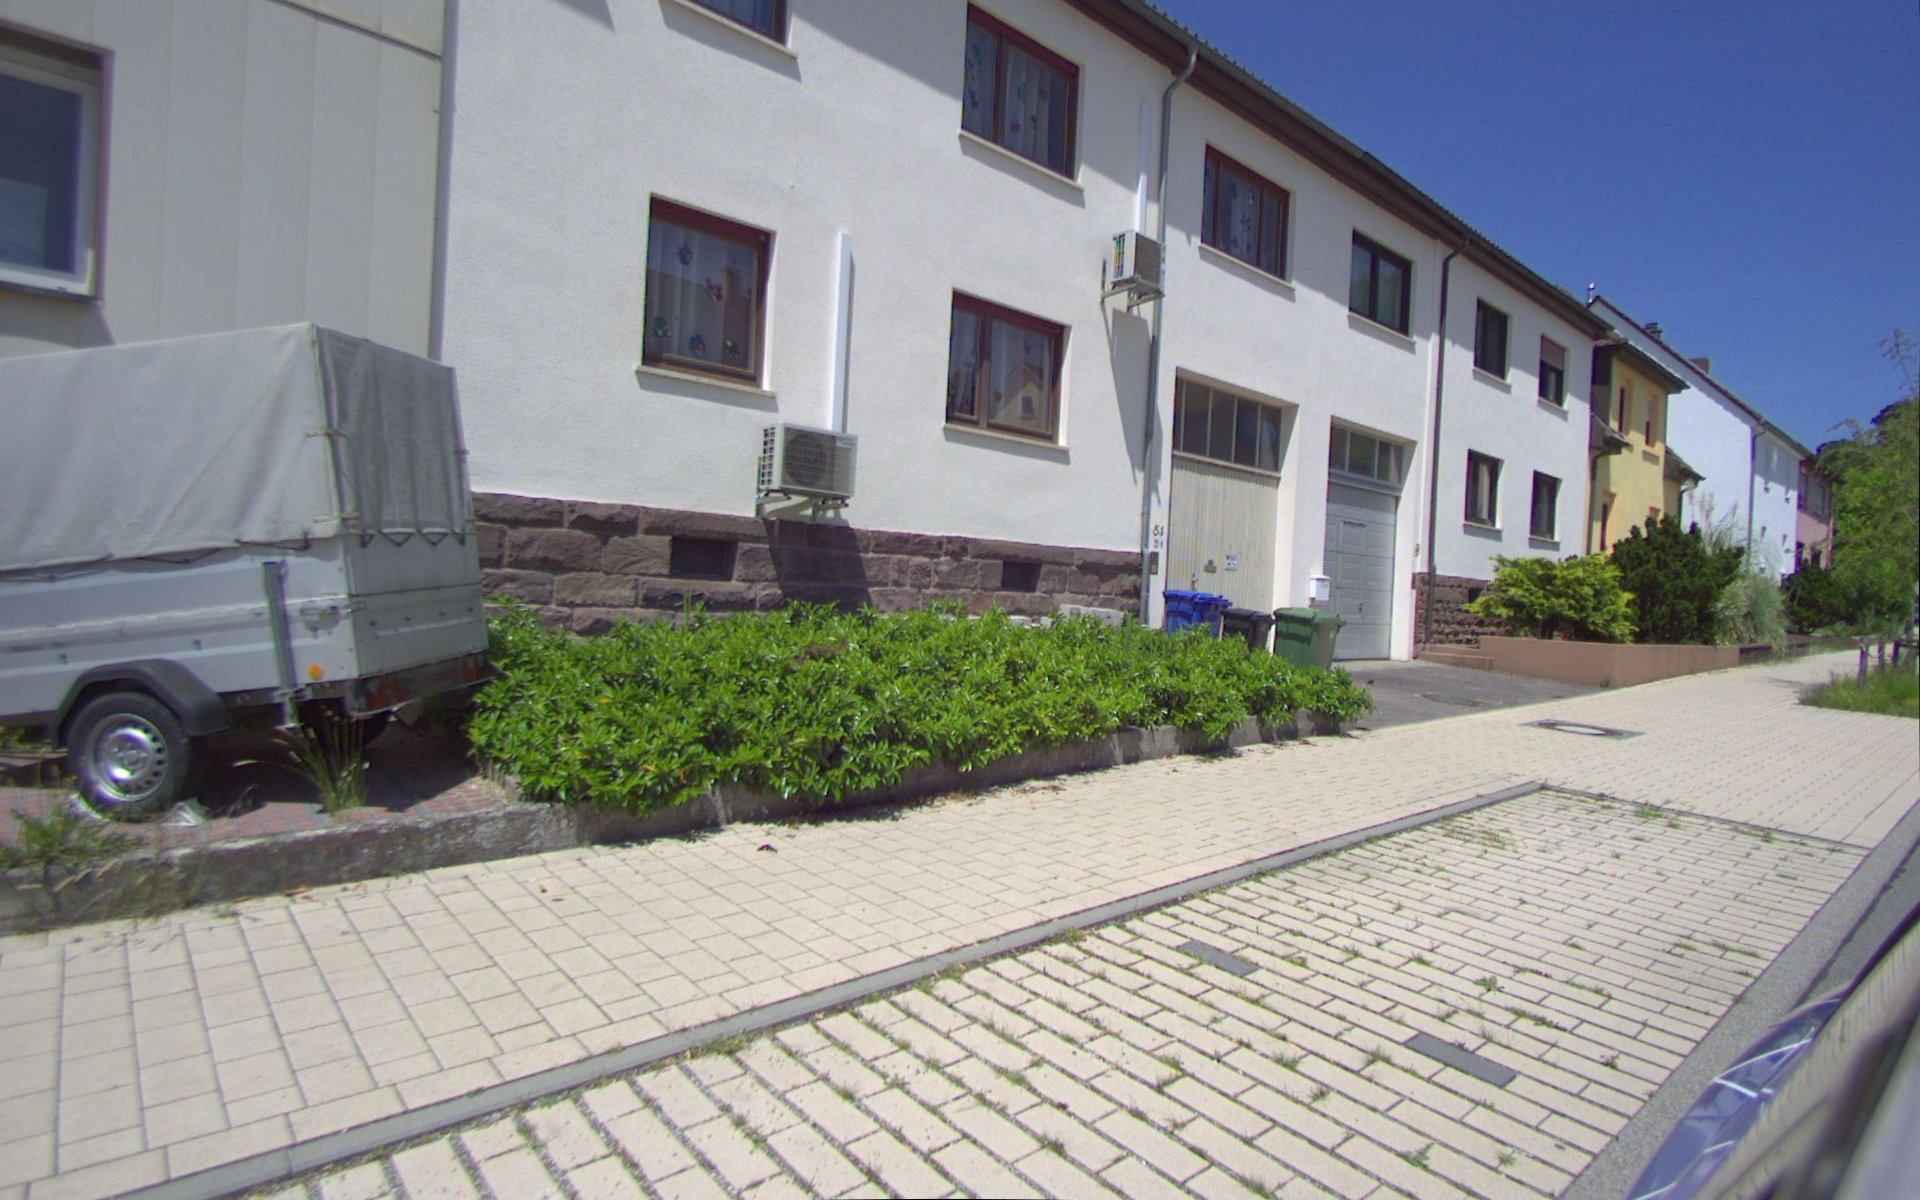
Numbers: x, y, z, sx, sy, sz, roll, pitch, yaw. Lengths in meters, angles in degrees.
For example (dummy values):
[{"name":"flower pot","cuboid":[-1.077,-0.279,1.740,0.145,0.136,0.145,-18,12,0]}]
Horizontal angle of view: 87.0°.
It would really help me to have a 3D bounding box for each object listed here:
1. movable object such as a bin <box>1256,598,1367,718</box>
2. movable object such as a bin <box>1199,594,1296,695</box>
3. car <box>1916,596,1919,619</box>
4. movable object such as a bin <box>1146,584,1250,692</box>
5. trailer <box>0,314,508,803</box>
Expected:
[{"name":"movable object such as a bin","cuboid":[3.635,0.571,10.479,0.797,1.128,0.687,0,5,-35]},{"name":"movable object such as a bin","cuboid":[3.102,0.459,10.923,0.787,0.997,0.560,0,5,-34]},{"name":"car","cuboid":[61.465,0.514,63.651,1.670,1.393,3.941,3,2,41]},{"name":"movable object such as a bin","cuboid":[2.696,0.410,11.479,0.846,1.119,0.688,0,4,-34]},{"name":"trailer","cuboid":[-3.613,-0.191,4.919,2.231,2.039,1.324,1,0,2]}]
